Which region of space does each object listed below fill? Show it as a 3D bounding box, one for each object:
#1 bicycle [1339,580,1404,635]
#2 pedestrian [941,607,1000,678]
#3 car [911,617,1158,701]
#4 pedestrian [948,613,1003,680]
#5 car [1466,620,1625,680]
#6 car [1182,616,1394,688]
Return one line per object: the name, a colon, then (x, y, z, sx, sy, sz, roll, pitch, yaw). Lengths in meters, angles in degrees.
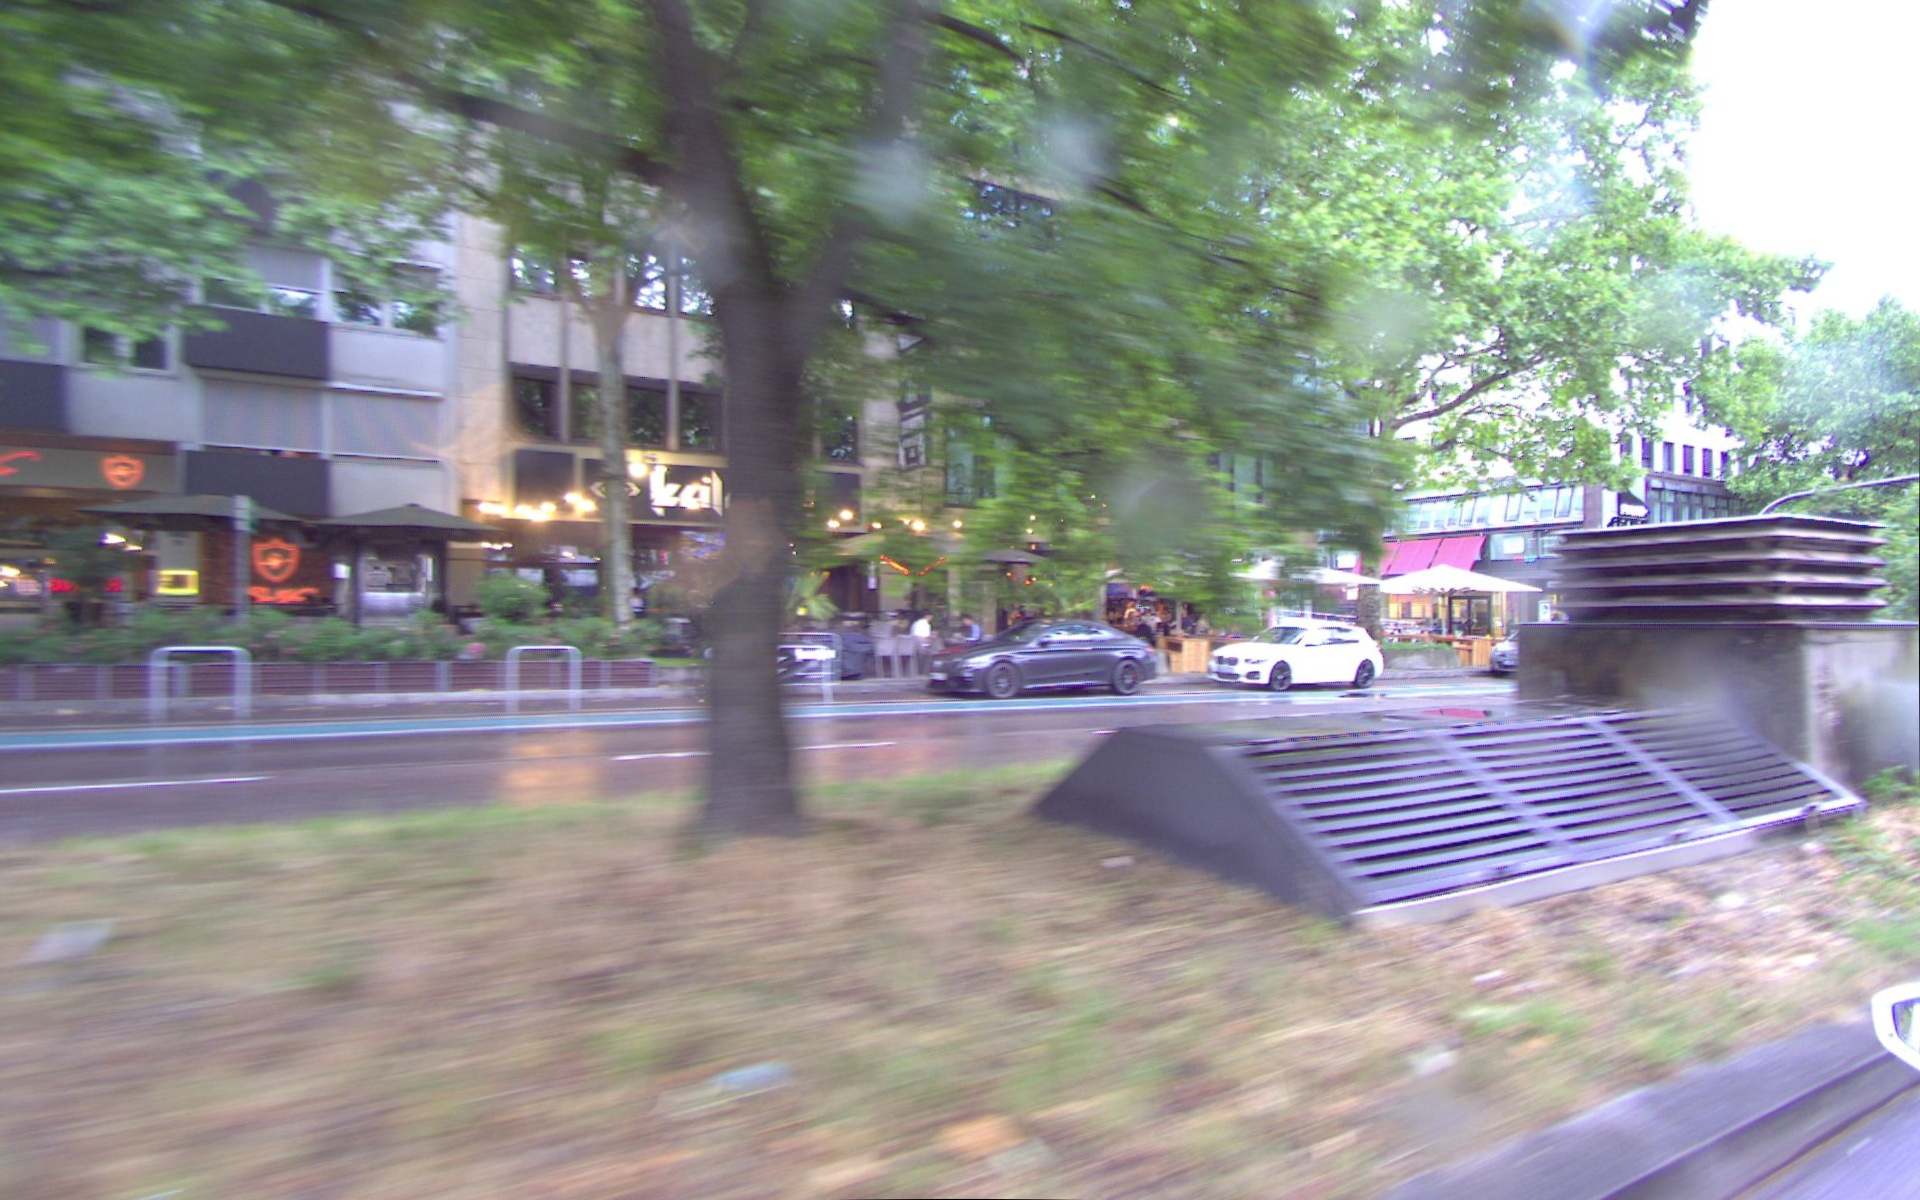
bicycle: (15.726, 0.304, 38.473, 0.682, 2.040, 2.374, 1, -1, -31)
pedestrian: (0.230, 0.909, 21.781, 0.963, 1.508, 0.824, 1, 0, -33)
car: (1.446, 1.060, 19.002, 4.430, 1.413, 1.816, 1, -1, -30)
pedestrian: (0.328, 0.999, 21.821, 0.923, 1.398, 0.759, 1, 0, -33)
car: (16.214, 1.338, 27.752, 4.468, 1.529, 1.983, 1, -1, -32)
car: (7.325, 1.102, 22.339, 4.486, 1.388, 1.984, 1, 1, -30)
